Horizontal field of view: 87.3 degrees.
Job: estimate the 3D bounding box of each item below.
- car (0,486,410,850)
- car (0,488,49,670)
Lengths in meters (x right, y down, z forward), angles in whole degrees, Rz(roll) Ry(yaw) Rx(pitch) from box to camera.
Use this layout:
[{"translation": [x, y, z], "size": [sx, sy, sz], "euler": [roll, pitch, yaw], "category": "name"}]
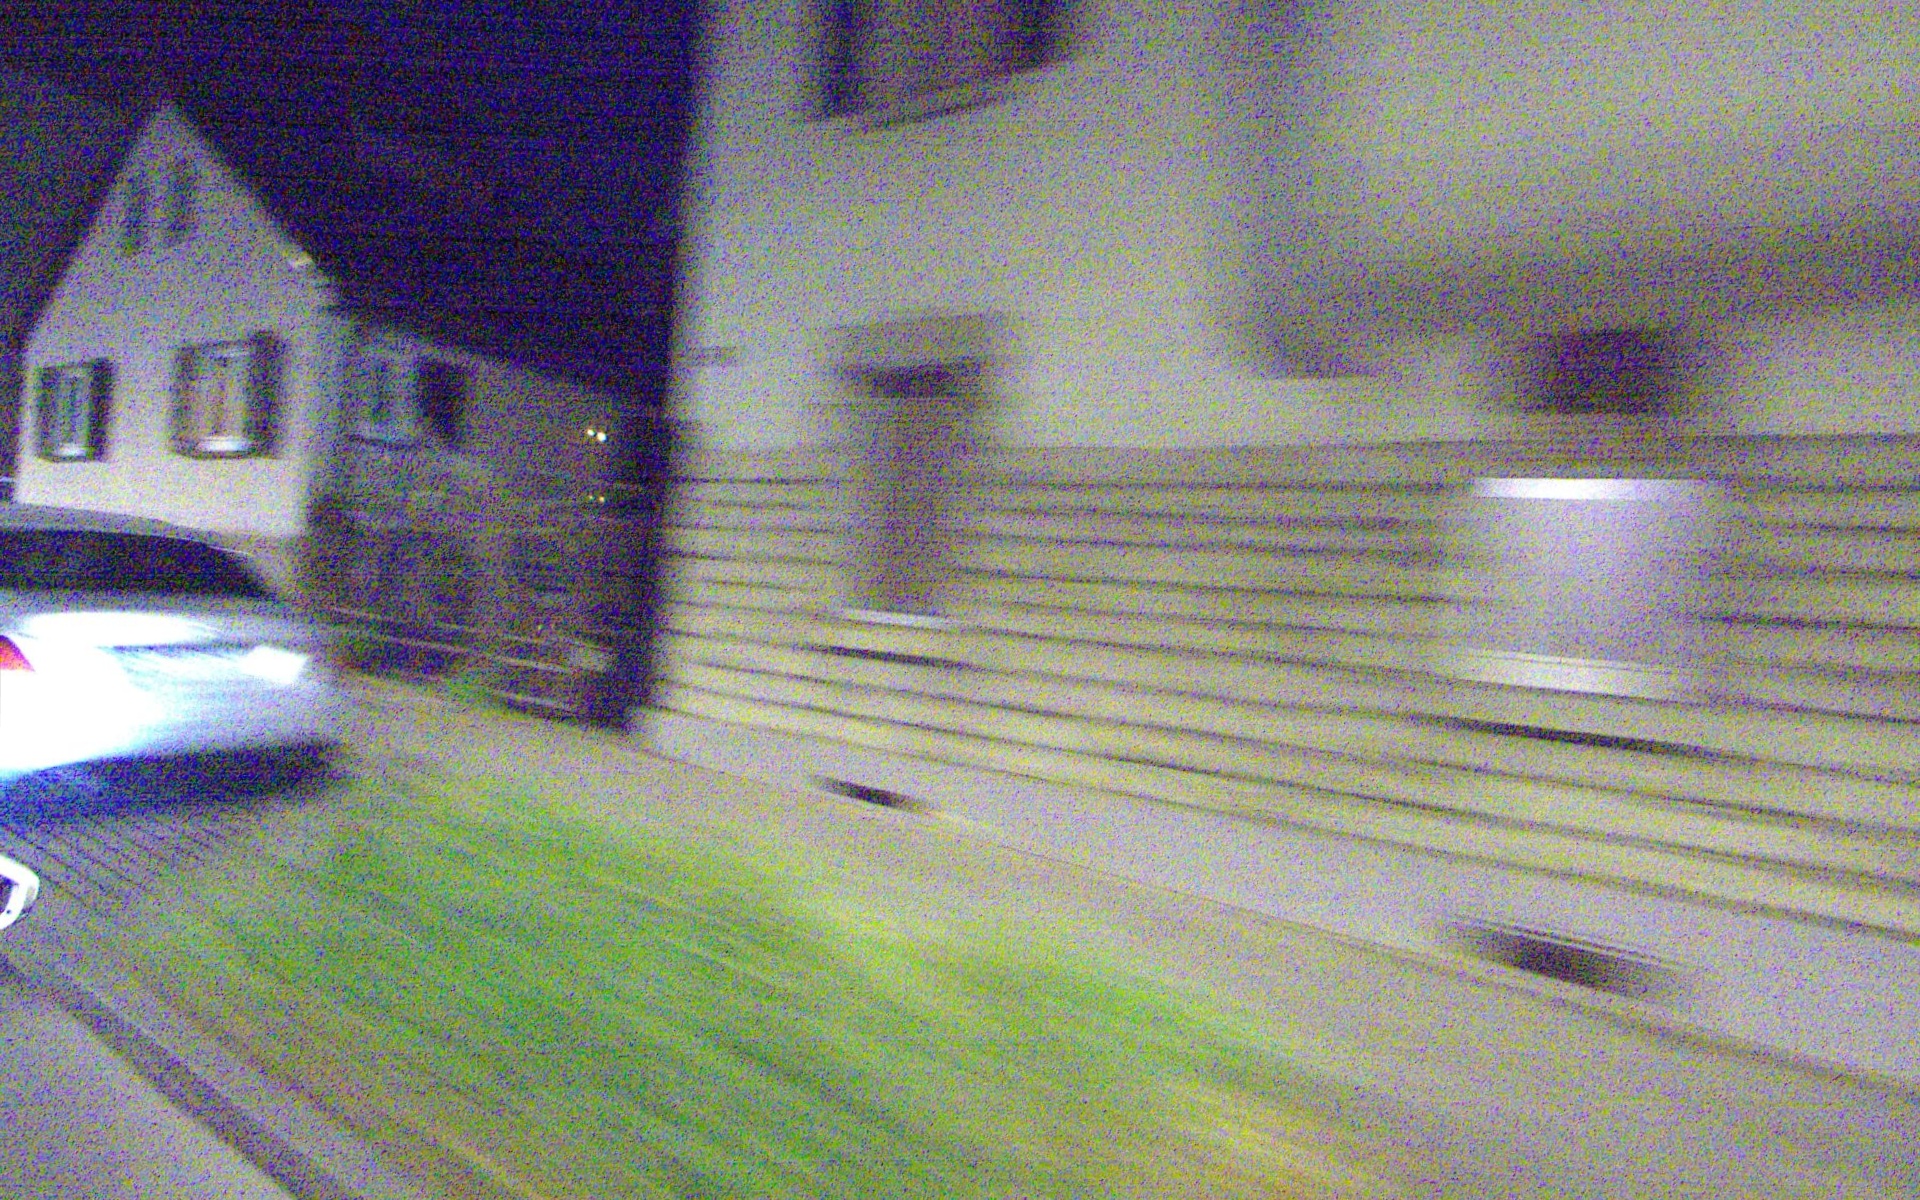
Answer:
[{"translation": [-5.405, 0.088, 5.798], "size": [4.567, 1.437, 1.845], "euler": [6, 3, 31], "category": "car"}, {"translation": [-9.725, -0.395, 8.583], "size": [3.952, 1.466, 1.772], "euler": [7, 1, 31], "category": "car"}]
